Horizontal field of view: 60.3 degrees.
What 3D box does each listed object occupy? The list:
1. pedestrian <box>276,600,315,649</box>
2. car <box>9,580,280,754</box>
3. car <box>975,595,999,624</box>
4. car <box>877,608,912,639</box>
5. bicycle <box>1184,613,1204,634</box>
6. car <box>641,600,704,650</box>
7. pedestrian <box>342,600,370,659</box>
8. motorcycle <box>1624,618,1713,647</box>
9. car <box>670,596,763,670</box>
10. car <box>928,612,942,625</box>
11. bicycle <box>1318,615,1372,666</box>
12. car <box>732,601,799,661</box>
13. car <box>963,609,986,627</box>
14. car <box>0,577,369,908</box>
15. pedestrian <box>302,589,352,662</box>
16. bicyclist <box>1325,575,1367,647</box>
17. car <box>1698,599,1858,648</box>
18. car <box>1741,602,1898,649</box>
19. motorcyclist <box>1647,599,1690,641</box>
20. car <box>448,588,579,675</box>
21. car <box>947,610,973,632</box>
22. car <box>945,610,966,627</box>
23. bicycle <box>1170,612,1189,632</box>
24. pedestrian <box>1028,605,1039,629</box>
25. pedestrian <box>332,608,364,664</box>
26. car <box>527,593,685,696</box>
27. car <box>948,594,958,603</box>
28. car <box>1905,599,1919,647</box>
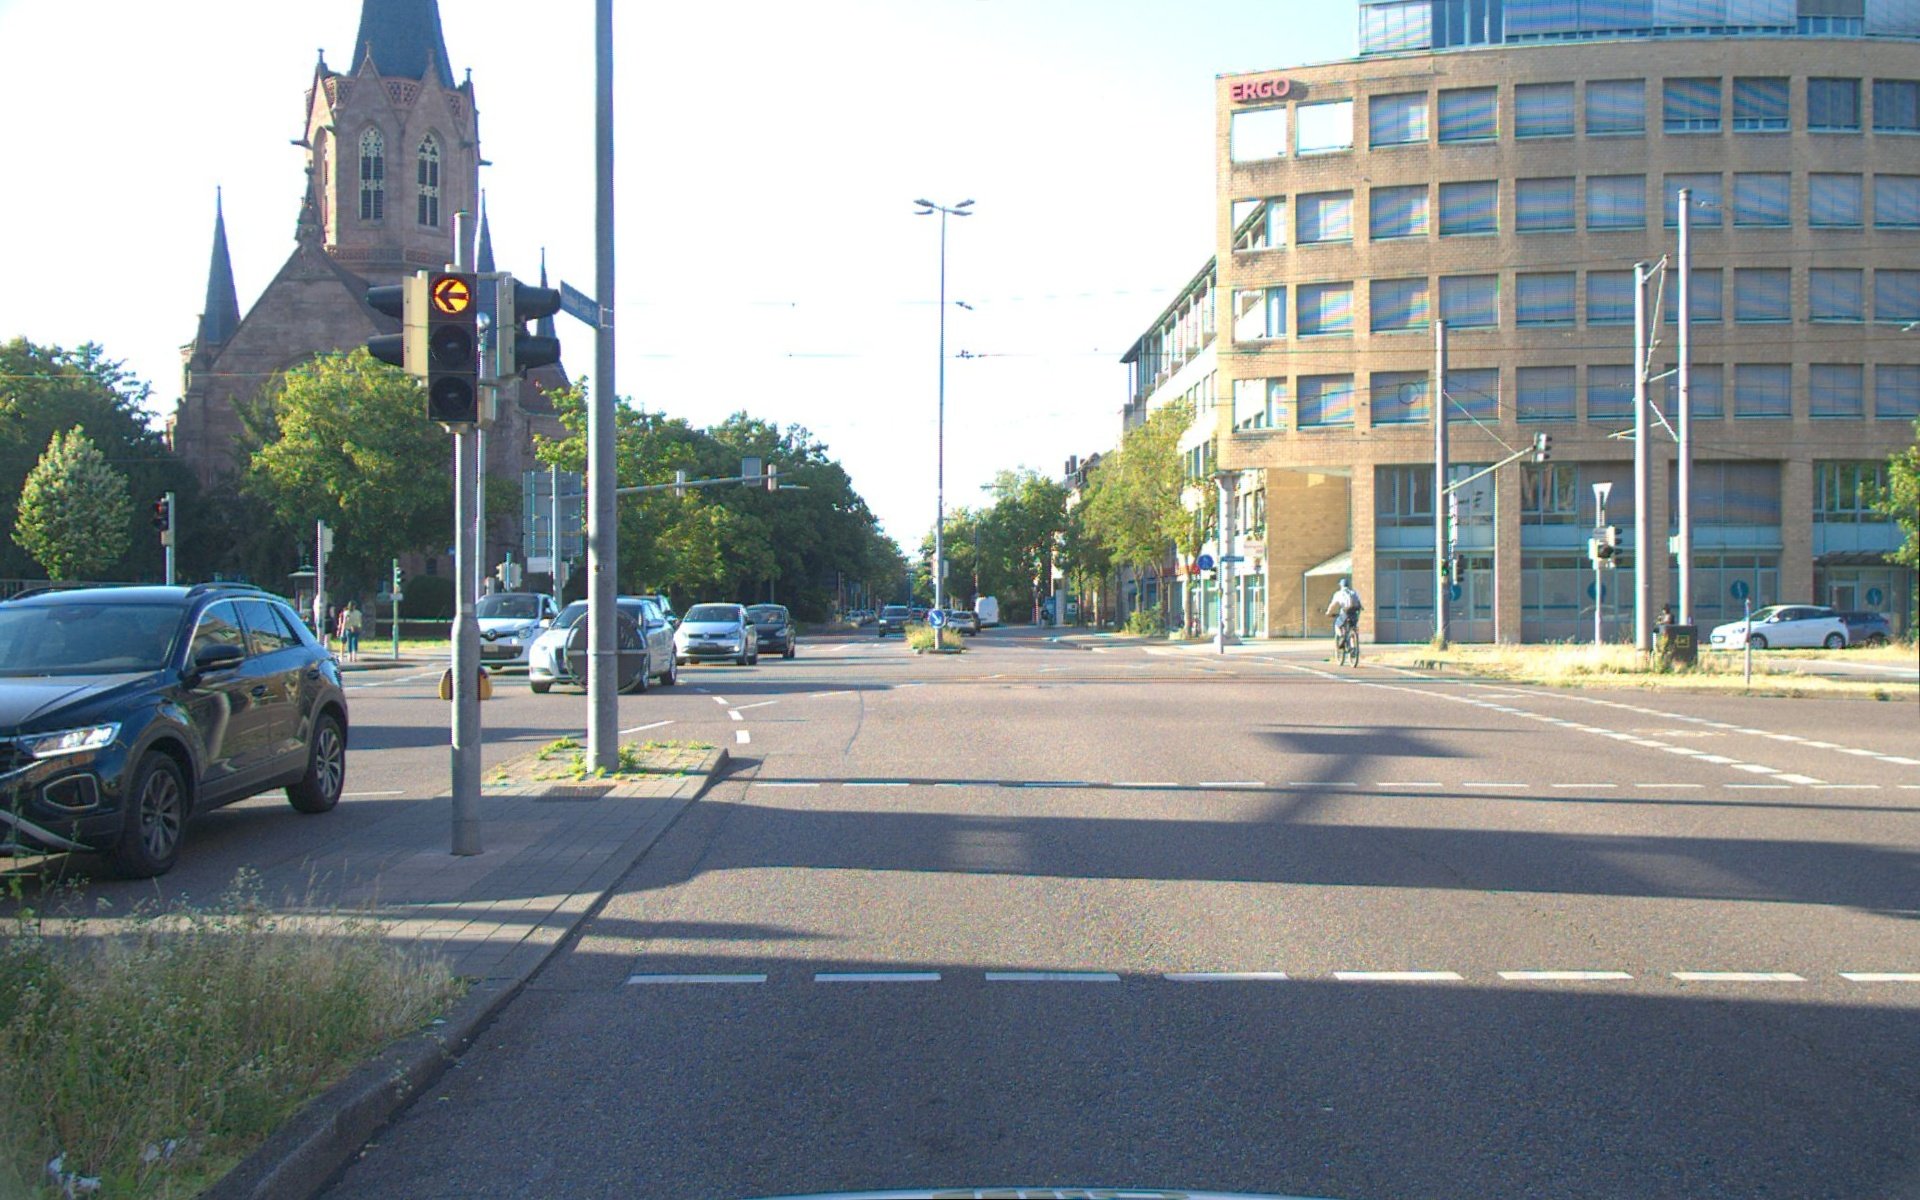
[{"bbox_3d":[-24.257,0.891,60.383,0.994,1.726,0.843,1,-1,27],"label":"pedestrian"},{"bbox_3d":[-8.436,0.636,17.350,1.504,1.620,2.807,-2,0,-3],"label":"car"},{"bbox_3d":[2.359,0.856,144.492,1.953,2.483,3.999,1,0,-1],"label":"car"},{"bbox_3d":[-3.809,1.388,96.735,1.953,1.754,5.029,-1,-1,-2],"label":"car"},{"bbox_3d":[11.357,1.123,80.441,0.633,1.012,2.080,0,0,-2],"label":"bicycle"},{"bbox_3d":[-9.741,0.829,56.202,1.546,1.571,3.476,-2,0,-1],"label":"car"},{"bbox_3d":[-17.760,0.855,48.675,0.697,1.726,0.891,1,-1,-18],"label":"pedestrian"},{"bbox_3d":[24.444,1.119,57.105,2.663,0.981,1.031,0,-1,-2],"label":"motorcycle"},{"bbox_3d":[-5.646,0.726,38.718,1.641,1.571,3.805,-2,0,-1],"label":"car"},{"bbox_3d":[-2.754,2.002,180.813,1.562,1.289,3.266,0,0,-1],"label":"car"},{"bbox_3d":[7.711,0.802,33.181,0.580,0.959,1.978,1,0,-1],"label":"bicycle"},{"bbox_3d":[-5.583,0.862,47.796,1.546,1.571,3.476,-2,0,-1],"label":"car"},{"bbox_3d":[1.034,1.286,119.770,1.562,1.289,3.266,0,0,-1],"label":"car"},{"bbox_3d":[-5.077,0.686,9.949,1.641,1.571,4.101,-2,0,-2],"label":"car"},{"bbox_3d":[-15.616,0.631,40.830,0.945,1.770,0.811,0,-1,-3],"label":"pedestrian"},{"bbox_3d":[7.711,0.218,33.035,0.580,1.393,0.929,1,0,-1],"label":"bicyclist"},{"bbox_3d":[25.722,0.732,52.107,4.080,1.518,1.994,0,-1,-3],"label":"car"},{"bbox_3d":[29.721,0.869,57.293,4.390,1.564,1.986,0,-1,-1],"label":"car"},{"bbox_3d":[24.456,0.690,57.111,1.044,1.460,1.031,0,-1,-2],"label":"motorcyclist"},{"bbox_3d":[-8.791,0.585,32.830,1.641,1.571,3.637,-2,0,-1],"label":"car"},{"bbox_3d":[-0.036,1.284,101.995,1.562,1.289,3.266,0,0,-1],"label":"car"},{"bbox_3d":[-0.369,1.467,131.899,1.562,1.289,3.266,0,0,-1],"label":"car"},{"bbox_3d":[11.249,1.142,84.960,0.633,1.012,2.080,0,0,-2],"label":"bicycle"},{"bbox_3d":[5.835,1.333,130.818,0.830,1.835,0.775,0,0,-1],"label":"pedestrian"},{"bbox_3d":[-19.025,1.118,51.386,0.831,1.726,1.009,1,-1,-25],"label":"pedestrian"},{"bbox_3d":[-5.546,0.640,26.382,1.674,1.450,4.101,-2,0,-1],"label":"car"},{"bbox_3d":[-1.065,-0.254,255.419,1.562,1.289,3.266,0,0,-1],"label":"car"},{"bbox_3d":[32.391,0.707,52.336,3.970,1.518,1.819,0,-1,-2],"label":"car"}]
